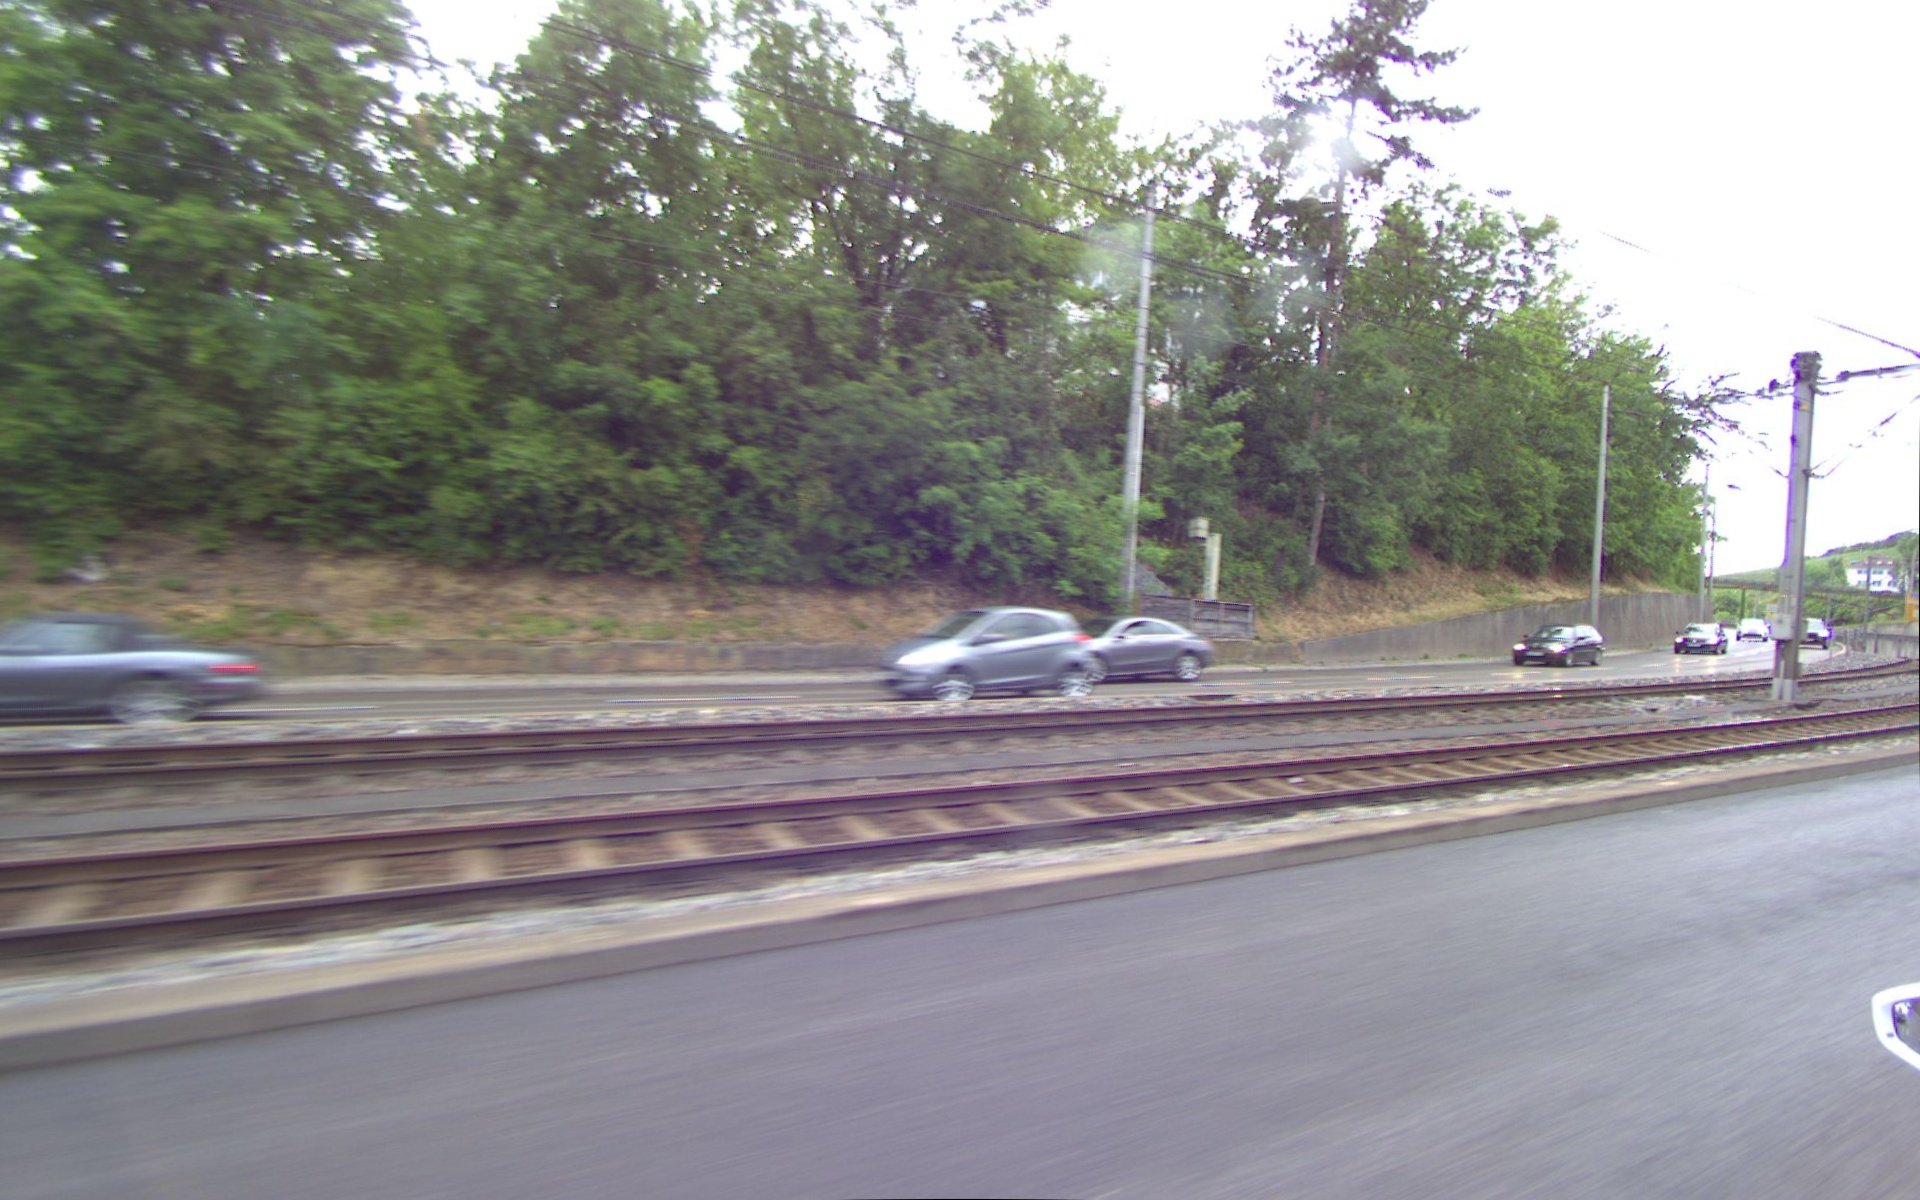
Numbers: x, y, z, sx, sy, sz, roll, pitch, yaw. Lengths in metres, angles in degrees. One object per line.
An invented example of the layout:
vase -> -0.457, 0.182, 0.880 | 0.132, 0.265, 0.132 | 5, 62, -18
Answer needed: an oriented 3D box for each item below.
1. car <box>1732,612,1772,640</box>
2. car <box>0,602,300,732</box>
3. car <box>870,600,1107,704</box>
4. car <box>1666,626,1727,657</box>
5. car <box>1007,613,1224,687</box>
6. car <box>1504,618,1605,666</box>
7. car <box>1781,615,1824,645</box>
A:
car -> 61.306, 1.999, 77.710 | 1.973, 2.040, 3.975 | 2, 0, 45
car -> -9.473, 0.692, 10.707 | 3.911, 1.274, 1.537 | 2, -2, -29
car -> 0.486, 0.816, 16.165 | 3.579, 1.510, 1.530 | 1, -2, -31
car -> 36.647, 2.031, 49.940 | 1.907, 1.433, 4.425 | -1, -2, 43
car -> 3.444, 1.056, 21.908 | 4.606, 1.481, 1.807 | 1, -1, -31
car -> 20.315, 1.404, 34.254 | 4.542, 1.536, 1.729 | 2, -2, -42
car -> 53.076, 1.849, 63.346 | 1.903, 1.810, 4.433 | 0, -1, 38
